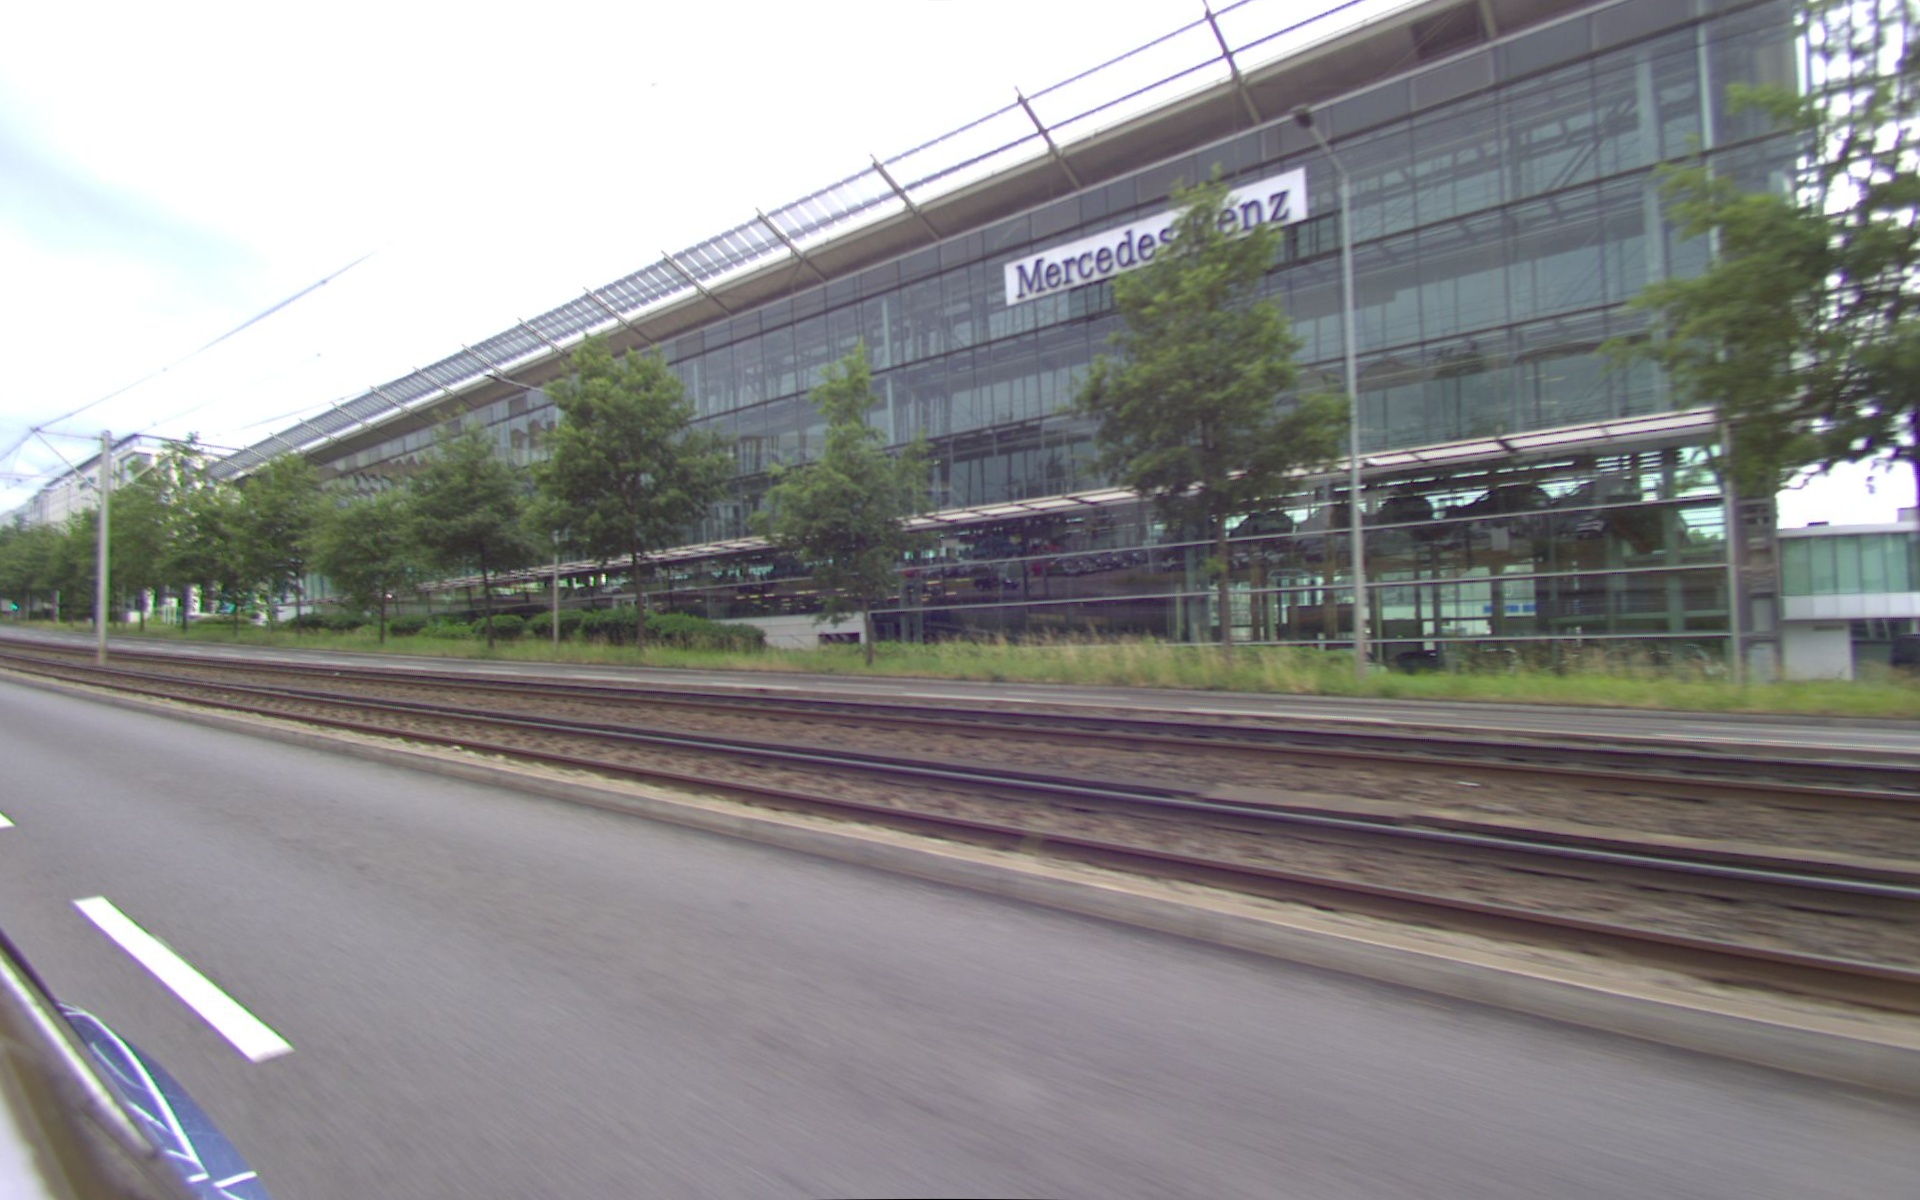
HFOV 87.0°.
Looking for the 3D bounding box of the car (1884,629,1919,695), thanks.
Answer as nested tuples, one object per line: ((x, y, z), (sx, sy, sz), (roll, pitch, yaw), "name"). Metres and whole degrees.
((29.653, 1.810, 29.201), (3.959, 1.864, 1.888), (0, 0, 12), "car")
